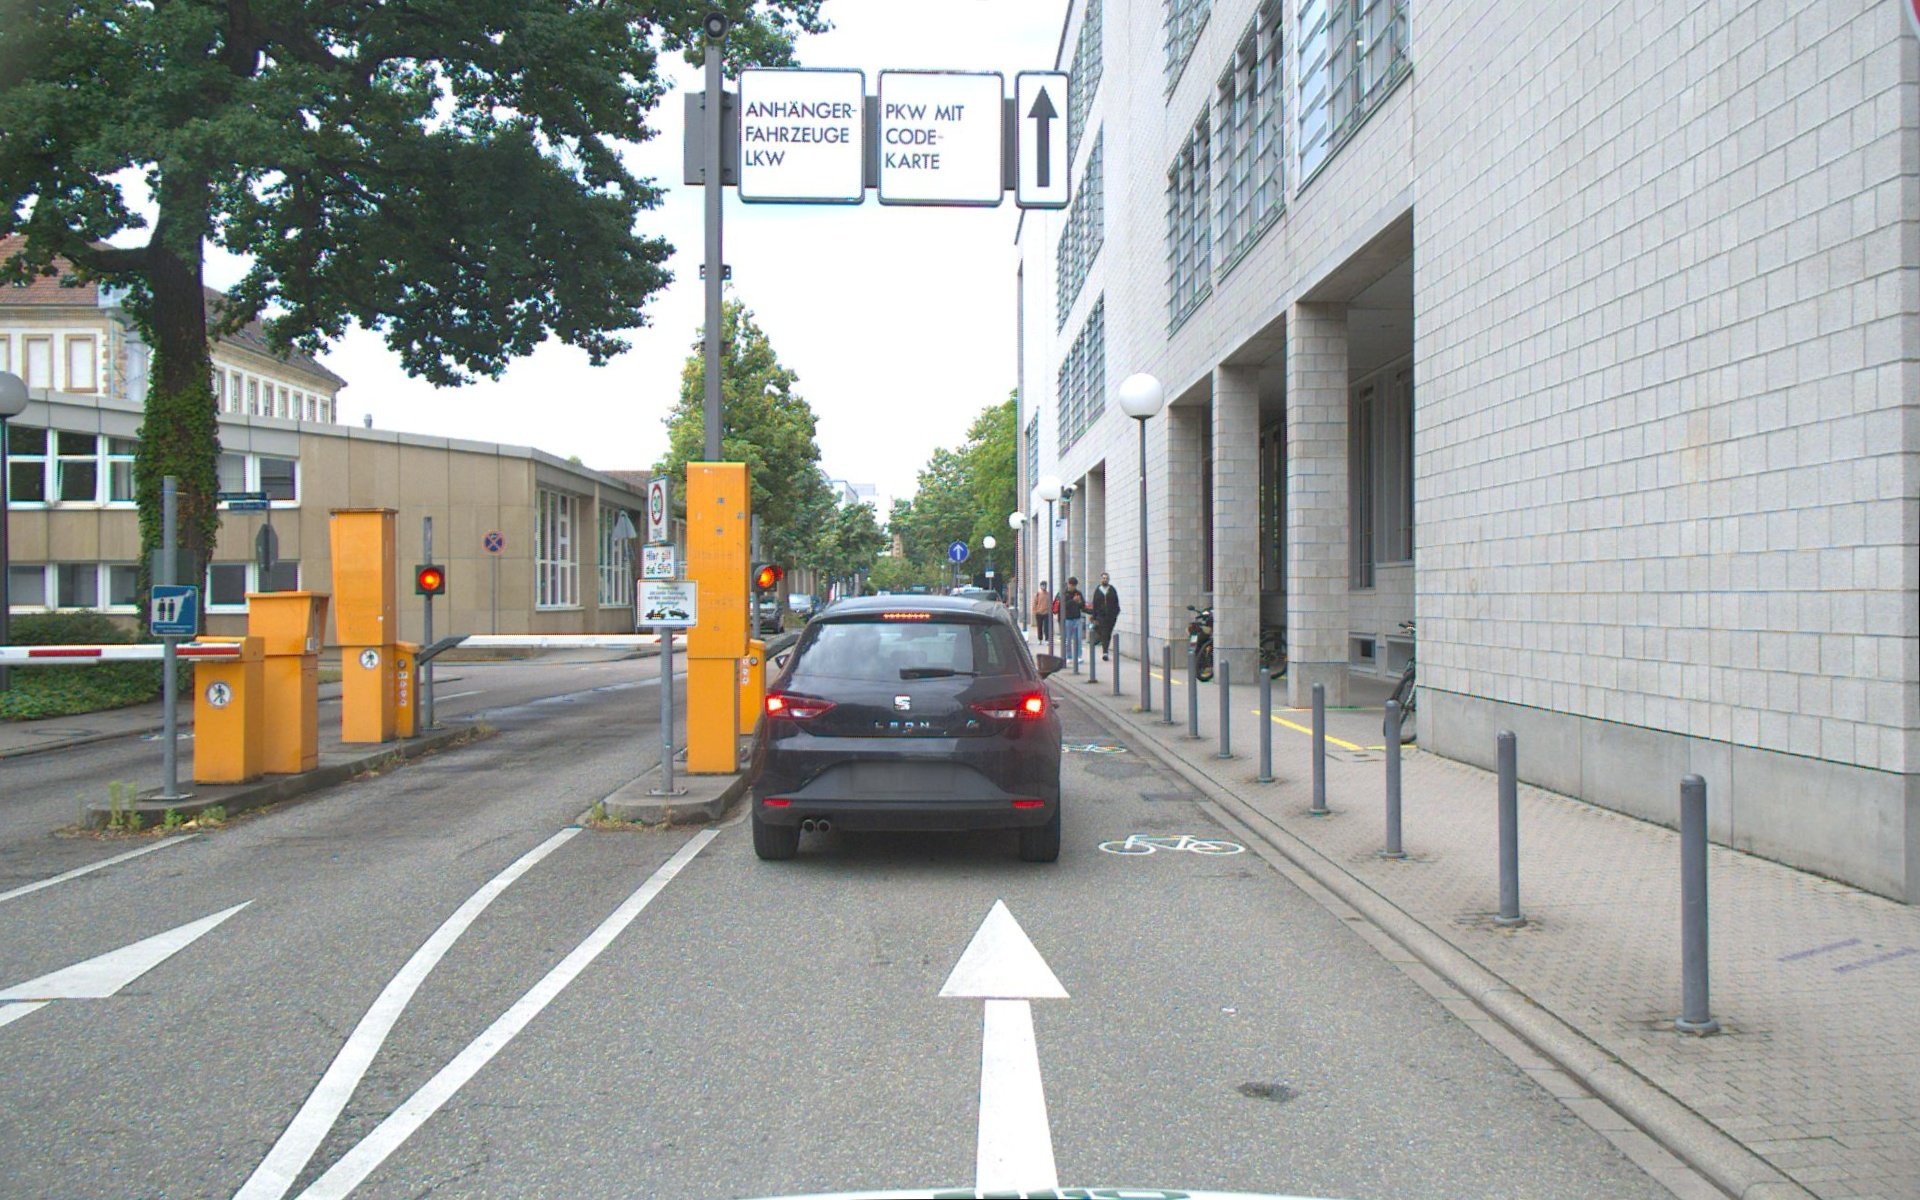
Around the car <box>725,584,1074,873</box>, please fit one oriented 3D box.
[{"bbox_3d":[-0.354,0.626,10.364,1.746,1.444,4.128,0,0,-2],"label":"car"}]

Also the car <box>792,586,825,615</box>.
[{"bbox_3d":[-8.634,-0.009,94.695,1.735,1.629,3.998,0,0,-3],"label":"car"}]

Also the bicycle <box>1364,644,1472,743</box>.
[{"bbox_3d":[4.440,0.876,15.927,0.453,0.764,2.292,-5,-1,28],"label":"bicycle"}]

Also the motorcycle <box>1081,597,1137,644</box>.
[{"bbox_3d":[4.139,0.547,45.796,0.744,1.168,2.662,2,3,23],"label":"motorcycle"}]

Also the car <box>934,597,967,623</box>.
[{"bbox_3d":[-0.609,0.608,101.906,1.953,1.489,4.427,-2,0,-1],"label":"car"}]

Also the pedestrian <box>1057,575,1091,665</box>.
[{"bbox_3d":[2.255,0.396,32.672,0.599,1.744,0.574,-1,0,1],"label":"pedestrian"}]

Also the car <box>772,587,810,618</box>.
[{"bbox_3d":[-9.078,0.134,89.182,1.734,1.629,3.999,0,0,-1],"label":"car"}]

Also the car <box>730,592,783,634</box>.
[{"bbox_3d":[-8.135,0.508,66.411,1.734,1.629,3.998,0,0,-2],"label":"car"}]

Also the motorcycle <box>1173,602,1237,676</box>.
[{"bbox_3d":[4.342,0.662,29.179,0.554,1.168,2.217,2,3,23],"label":"motorcycle"}]

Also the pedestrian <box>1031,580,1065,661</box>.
[{"bbox_3d":[1.905,0.432,35.922,0.682,1.744,0.489,0,0,-4],"label":"pedestrian"}]

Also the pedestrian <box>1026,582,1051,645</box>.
[{"bbox_3d":[2.204,0.376,46.276,0.682,1.744,0.489,0,0,3],"label":"pedestrian"}]

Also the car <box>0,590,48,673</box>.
[{"bbox_3d":[-18.907,0.590,30.689,1.825,1.557,3.999,0,0,-2],"label":"car"}]

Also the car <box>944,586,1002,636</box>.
[{"bbox_3d":[0.426,0.360,59.118,1.953,1.651,4.427,-2,0,-1],"label":"car"}]

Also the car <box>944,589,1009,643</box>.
[{"bbox_3d":[0.502,0.531,54.589,1.953,1.651,4.426,-1,0,-2],"label":"car"}]

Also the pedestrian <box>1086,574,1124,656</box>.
[{"bbox_3d":[3.134,0.324,35.758,0.714,1.728,0.587,0,2,-6],"label":"pedestrian"}]

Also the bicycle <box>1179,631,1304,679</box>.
[{"bbox_3d":[4.423,0.865,26.035,1.859,0.711,0.492,0,2,-5],"label":"bicycle"}]

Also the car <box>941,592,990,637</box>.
[{"bbox_3d":[0.205,0.599,71.204,1.953,1.813,4.427,-2,0,-1],"label":"car"}]

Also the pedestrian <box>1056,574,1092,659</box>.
[{"bbox_3d":[2.380,0.339,34.653,0.676,1.728,0.588,1,2,-2],"label":"pedestrian"}]
